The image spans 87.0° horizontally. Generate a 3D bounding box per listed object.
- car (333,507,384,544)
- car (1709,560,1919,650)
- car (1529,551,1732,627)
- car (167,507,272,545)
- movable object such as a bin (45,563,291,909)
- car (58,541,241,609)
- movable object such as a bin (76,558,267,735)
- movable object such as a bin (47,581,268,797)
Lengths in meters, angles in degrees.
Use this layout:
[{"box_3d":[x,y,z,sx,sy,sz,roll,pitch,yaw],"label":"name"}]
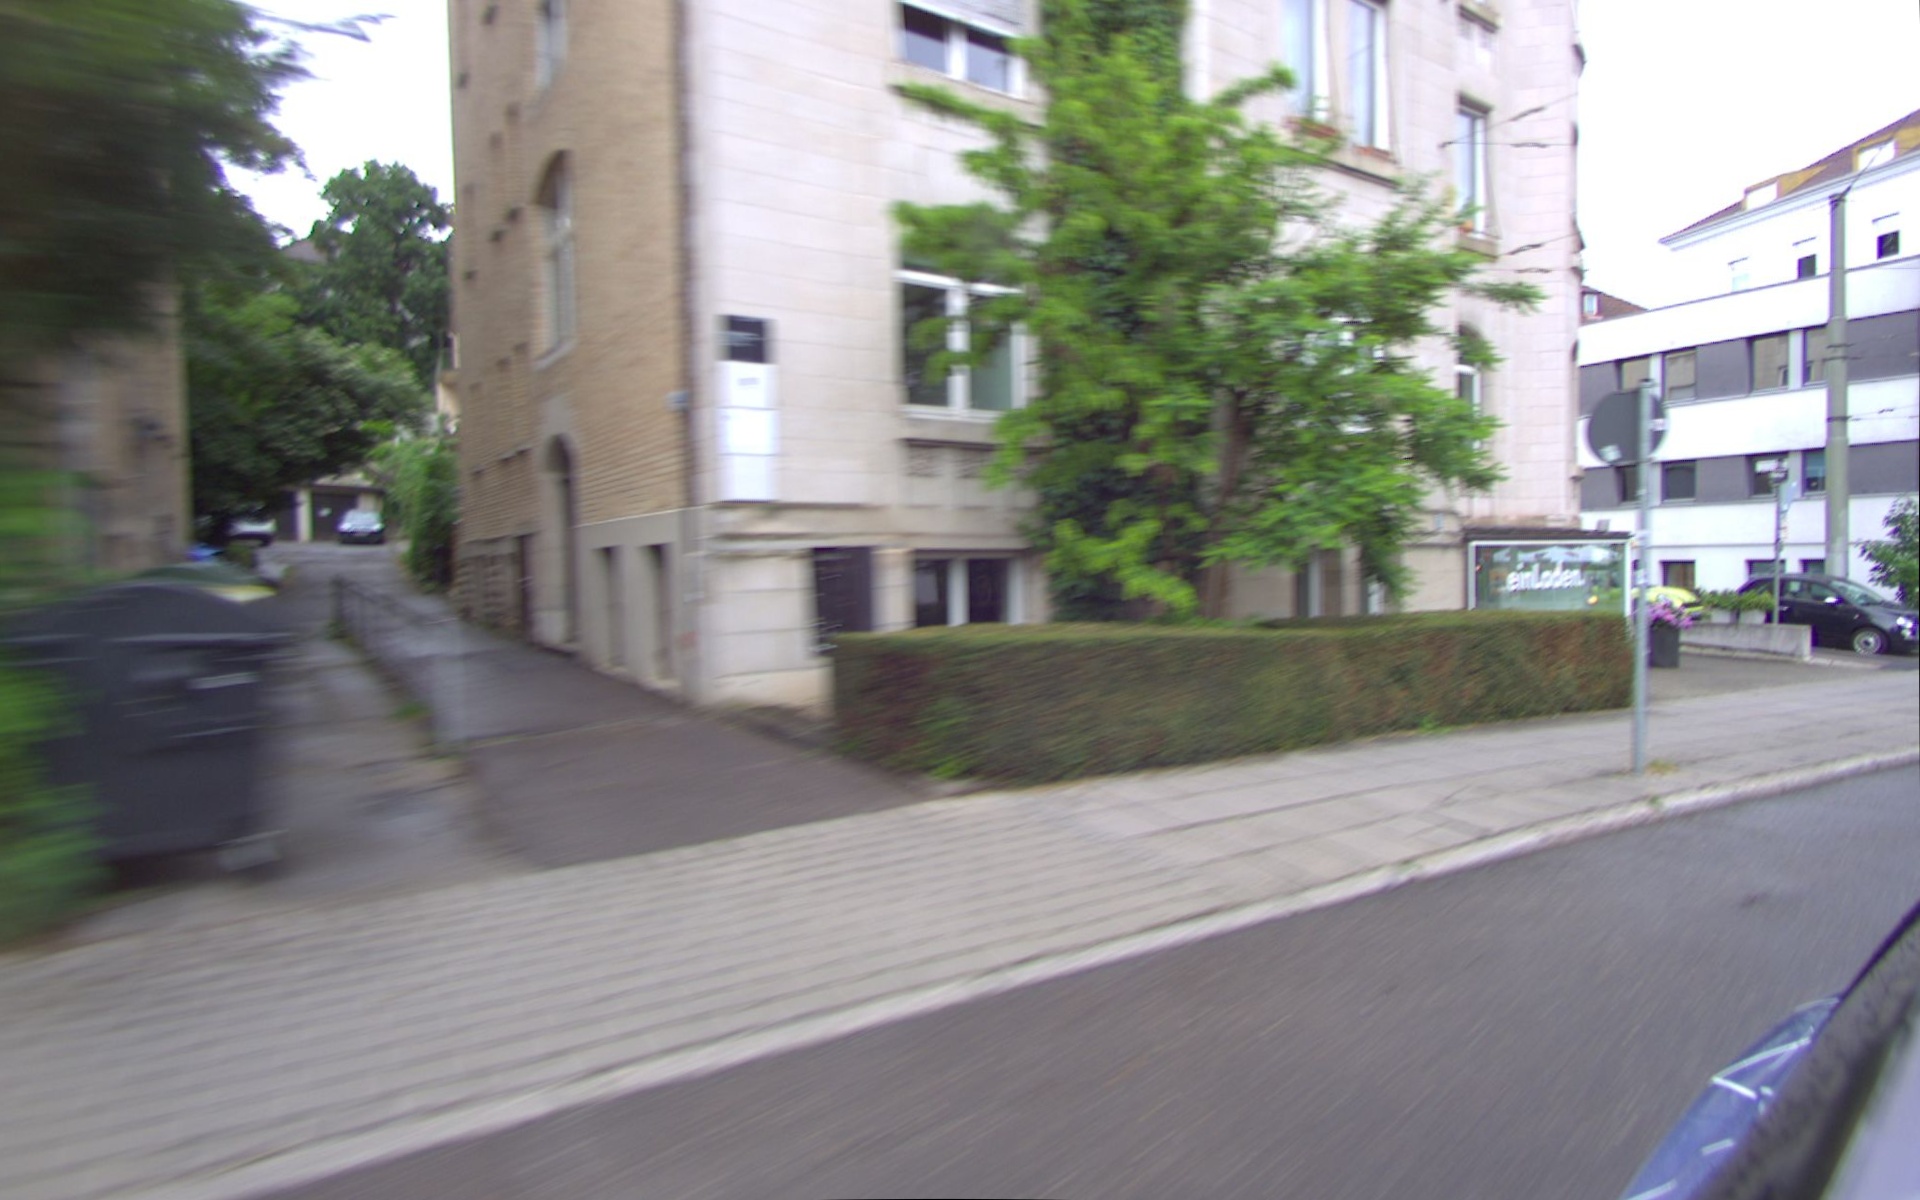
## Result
[{"box_3d":[-26.088,-3.199,43.997,1.638,1.467,4.007,2,2,-28],"label":"car"},{"box_3d":[18.050,0.017,20.936,1.702,1.525,3.679,-1,5,-27],"label":"car"},{"box_3d":[16.078,-0.339,24.471,1.702,1.525,3.679,-1,5,-27],"label":"car"},{"box_3d":[-28.060,-2.789,38.382,3.109,1.222,1.405,1,2,-41],"label":"car"},{"box_3d":[-3.920,0.564,4.980,0.809,1.420,1.227,2,2,-43],"label":"movable object such as a bin"},{"box_3d":[-18.272,-0.555,22.900,3.107,1.393,1.445,1,2,-41],"label":"car"},{"box_3d":[-7.101,0.356,9.198,1.283,1.442,1.235,-1,3,-36],"label":"movable object such as a bin"},{"box_3d":[-5.657,0.551,7.232,1.146,1.324,1.221,-1,3,-36],"label":"movable object such as a bin"}]
